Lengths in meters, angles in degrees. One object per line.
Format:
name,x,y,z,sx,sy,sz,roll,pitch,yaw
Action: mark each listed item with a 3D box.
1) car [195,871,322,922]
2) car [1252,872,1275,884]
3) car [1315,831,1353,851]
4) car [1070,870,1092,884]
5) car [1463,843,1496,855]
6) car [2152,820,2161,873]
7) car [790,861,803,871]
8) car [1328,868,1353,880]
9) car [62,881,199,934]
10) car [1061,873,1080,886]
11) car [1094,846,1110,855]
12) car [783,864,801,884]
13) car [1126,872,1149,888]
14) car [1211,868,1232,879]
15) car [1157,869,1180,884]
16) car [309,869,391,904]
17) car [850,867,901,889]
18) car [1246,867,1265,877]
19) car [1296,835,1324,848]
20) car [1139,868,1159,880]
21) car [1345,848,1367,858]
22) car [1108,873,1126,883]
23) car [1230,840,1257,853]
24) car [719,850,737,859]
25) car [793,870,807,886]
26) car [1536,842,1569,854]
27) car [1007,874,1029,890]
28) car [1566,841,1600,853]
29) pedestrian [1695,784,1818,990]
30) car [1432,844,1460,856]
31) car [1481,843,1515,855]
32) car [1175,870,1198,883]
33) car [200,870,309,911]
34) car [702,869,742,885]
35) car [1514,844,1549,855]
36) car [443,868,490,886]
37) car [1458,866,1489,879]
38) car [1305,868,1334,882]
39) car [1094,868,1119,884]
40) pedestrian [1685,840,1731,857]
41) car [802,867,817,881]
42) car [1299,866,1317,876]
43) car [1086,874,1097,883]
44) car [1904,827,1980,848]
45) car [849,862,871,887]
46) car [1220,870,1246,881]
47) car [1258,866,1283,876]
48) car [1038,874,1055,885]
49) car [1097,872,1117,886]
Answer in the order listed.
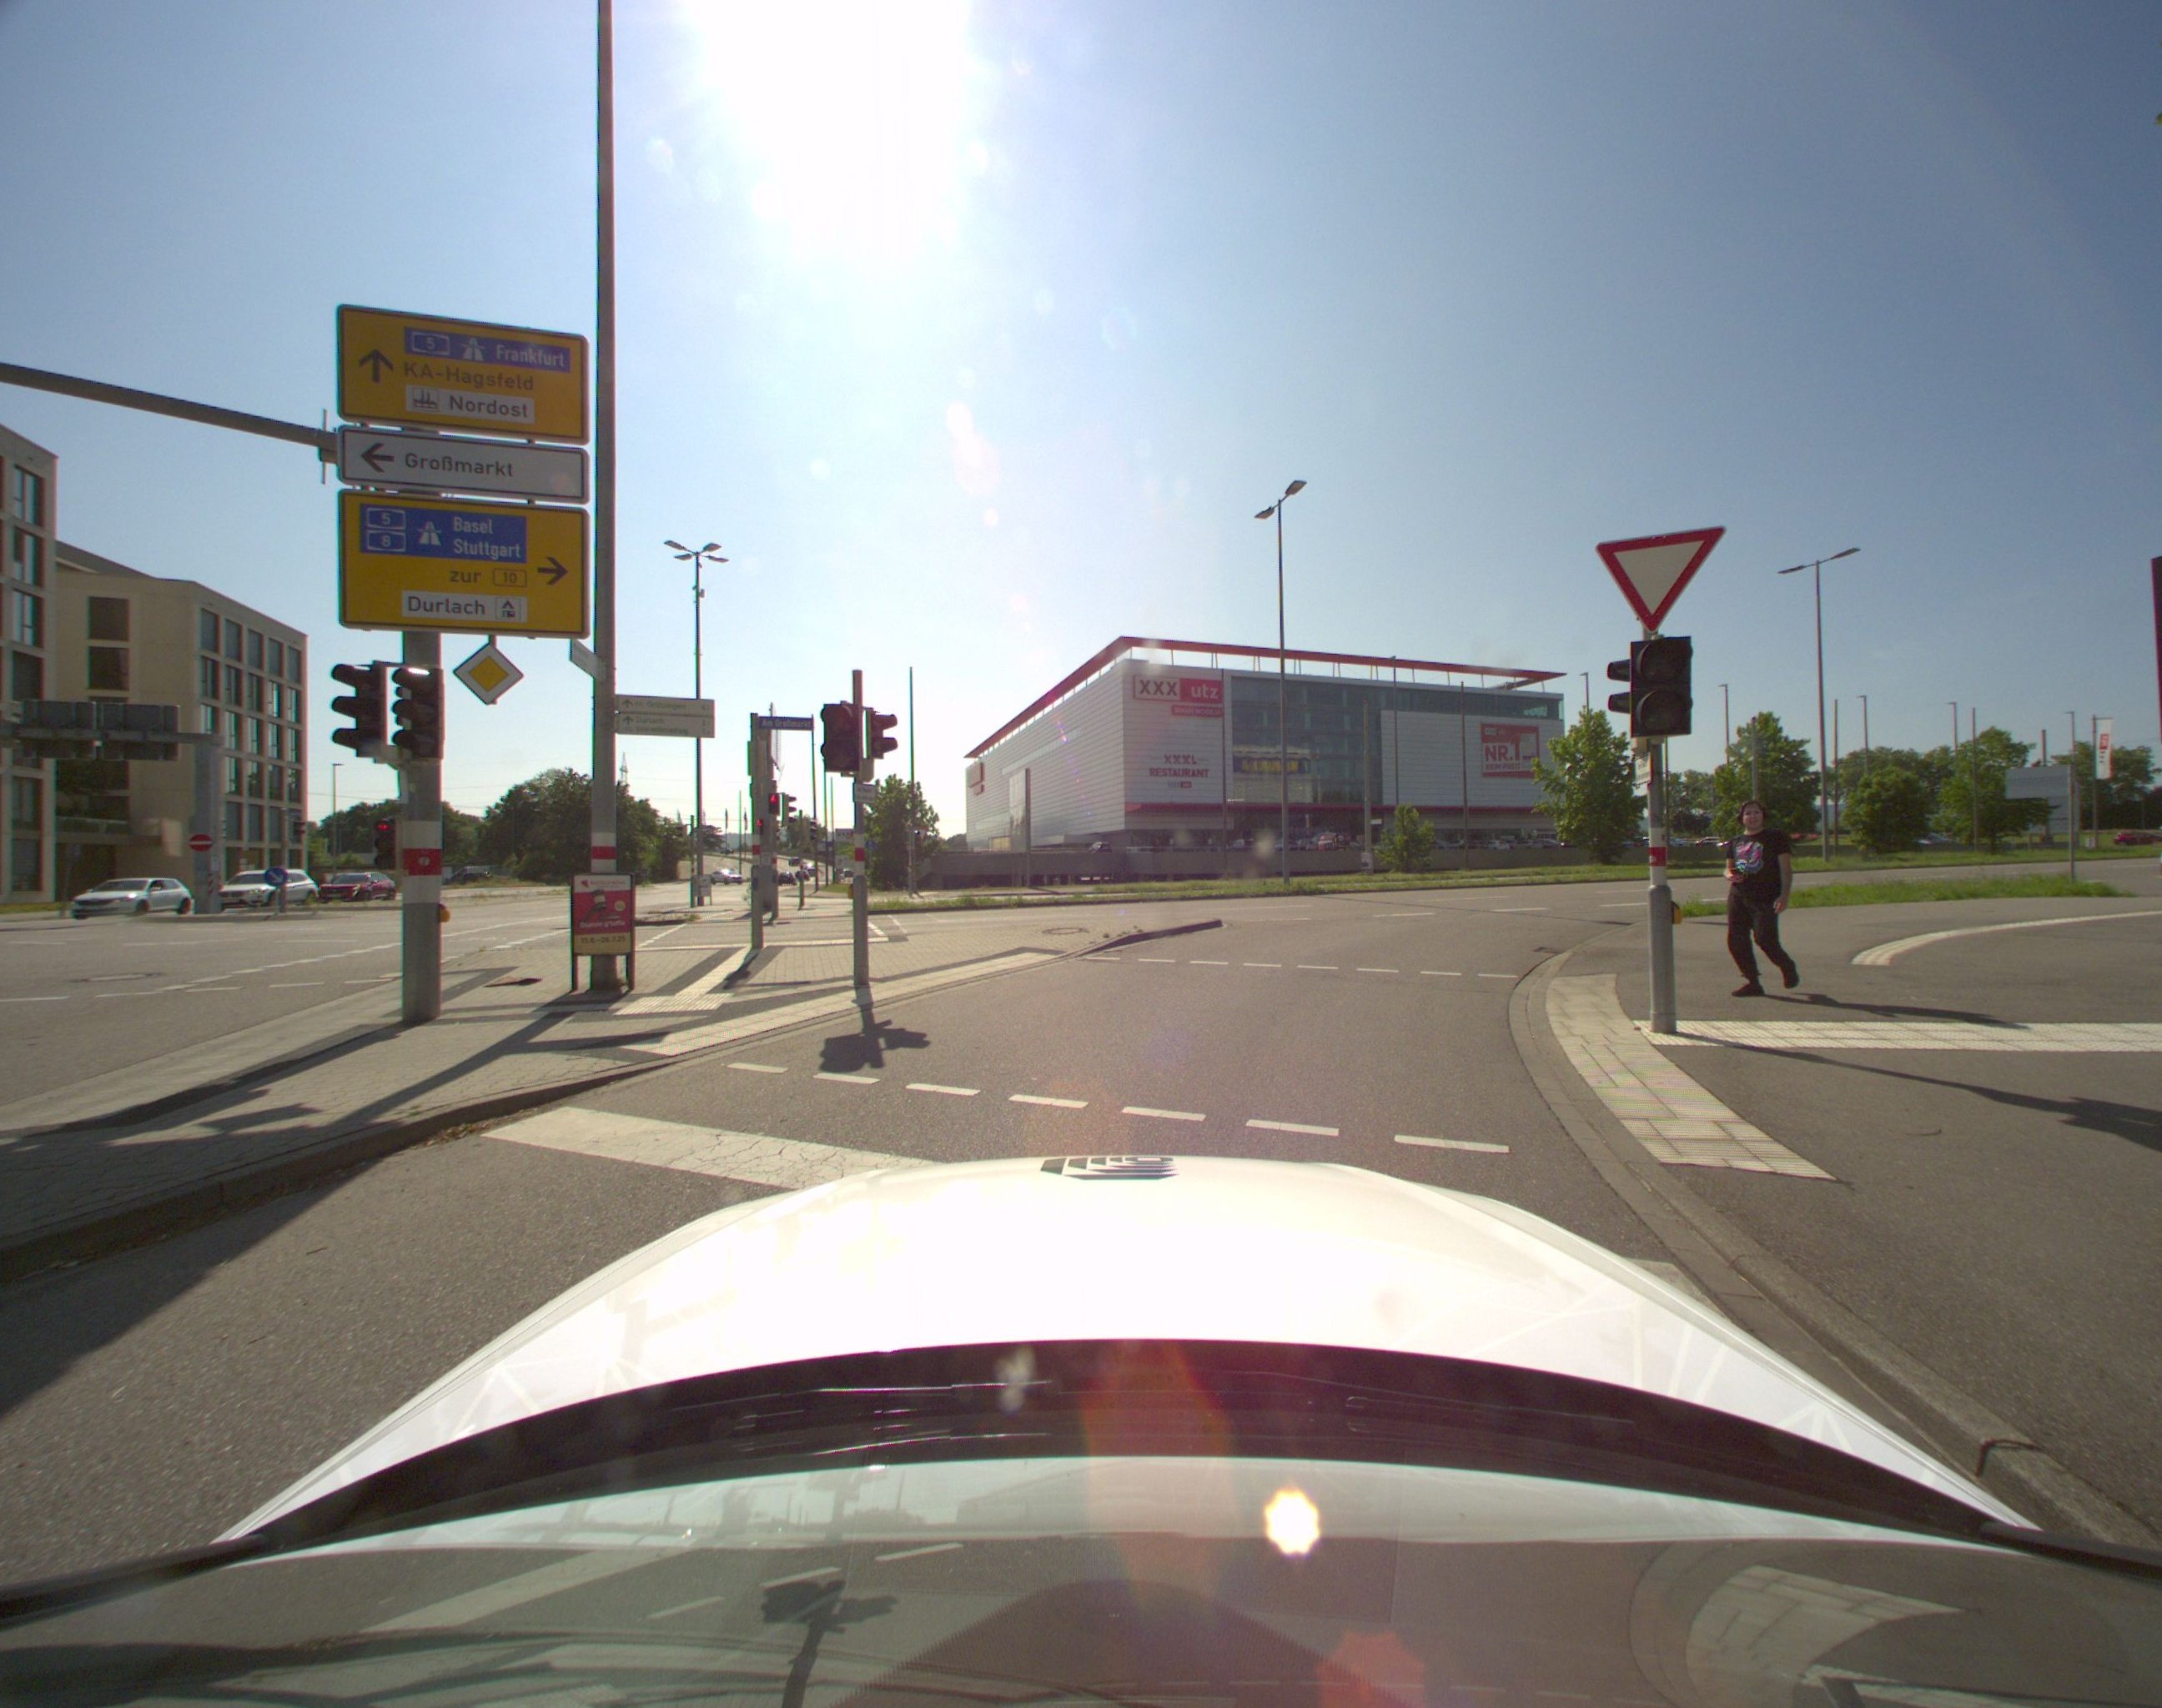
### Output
car,-32.777,1.624,32.640,2.028,1.838,4.279,0,-1,-22
car,15.093,1.998,67.400,0.911,0.975,1.929,0,-1,-21
car,22.114,-1.130,71.174,1.777,1.556,2.753,-2,-1,-25
car,-0.015,1.676,60.354,1.071,0.975,1.930,-2,0,-20
car,44.276,-0.576,90.531,1.515,1.330,3.077,0,-1,-19
car,33.153,-0.318,23.442,3.868,1.498,1.626,-4,1,-18
car,-55.550,2.362,159.040,2.194,2.014,3.975,0,-1,-18
car,22.097,1.706,69.298,1.071,0.975,1.929,0,-1,-21
car,-35.221,1.916,30.324,1.836,1.712,3.736,0,-1,-24
car,-0.928,2.211,70.171,1.072,1.039,1.929,-1,0,-21
car,2.355,-0.372,91.750,1.071,0.975,1.929,0,-1,-21
car,-30.681,2.077,86.530,1.636,2.014,3.975,-1,-1,-18
car,3.822,1.748,54.970,0.867,0.975,1.835,0,-1,-21
car,12.836,1.820,74.696,1.071,0.975,1.929,0,-1,-21
car,5.397,1.409,50.373,0.792,0.882,1.495,0,-1,-21
car,-35.113,1.506,39.243,1.531,1.527,4.092,-1,0,-20
car,-16.812,1.939,66.611,3.997,1.734,1.988,0,-1,-17
car,17.779,1.872,83.087,1.071,0.975,1.929,0,-1,-21
car,25.884,-1.400,92.187,1.515,1.330,3.077,0,-1,-19
car,6.029,1.752,72.359,1.071,0.975,1.929,0,-1,-21
car,28.400,-0.124,84.120,1.072,0.975,1.929,-1,-1,-21
car,3.554,2.336,79.726,1.071,0.975,1.929,0,-1,-21
car,17.271,-0.781,86.550,1.515,1.330,3.001,0,-1,-19
car,-87.042,0.184,200.937,3.806,2.237,1.863,0,-1,-14
car,-36.929,3.147,107.009,1.584,2.014,3.975,-1,-1,-18
car,54.115,-0.727,93.570,1.515,1.330,3.077,0,-1,-19
car,-4.059,1.812,52.254,0.890,0.975,1.929,0,-1,-21
car,58.273,-0.789,94.552,1.515,1.294,3.078,0,-1,-19
pedestrian,6.312,0.288,7.604,0.965,1.780,0.698,-1,-1,-42
car,42.788,-0.456,95.533,1.301,1.330,3.124,0,-1,-19
car,46.786,-0.585,91.341,1.704,1.330,3.077,0,-1,-19
car,8.394,1.793,64.724,1.071,0.975,1.929,0,-1,-21
car,-37.827,1.624,37.421,1.905,1.711,4.202,-1,0,-20
car,-39.749,2.566,90.254,4.005,1.622,2.006,-1,-1,-24
car,51.261,-0.544,92.728,1.480,1.199,3.487,0,-1,-19
car,-84.688,3.127,112.292,5.077,2.334,1.976,0,-1,-43
car,30.902,1.455,64.138,1.071,0.975,1.929,0,-1,-21
car,17.409,1.553,59.548,1.071,0.975,1.929,0,-1,-21
car,1.673,1.437,54.334,1.070,1.008,1.932,-1,0,-17
pedestrian,76.733,-0.619,99.768,3.960,2.014,2.007,-1,-1,12
car,-42.148,3.121,126.511,2.194,2.014,3.975,0,-1,-18
car,24.118,1.808,86.569,0.922,0.975,1.929,0,-1,-21
car,1.083,2.592,87.202,0.756,0.927,1.281,0,-1,-21
car,79.835,-1.511,75.566,1.945,1.842,4.399,-1,-1,-19
car,-21.576,1.972,79.751,1.996,2.296,4.012,0,-1,-14
car,10.684,1.507,57.318,0.907,0.733,2.073,0,-1,-21
car,12.237,1.083,52.721,0.859,0.620,1.553,0,-1,-21
car,-3.278,2.415,77.440,0.932,0.975,1.928,0,-1,-24
car,1.957,1.868,61.130,0.887,0.975,1.931,0,-1,-18
